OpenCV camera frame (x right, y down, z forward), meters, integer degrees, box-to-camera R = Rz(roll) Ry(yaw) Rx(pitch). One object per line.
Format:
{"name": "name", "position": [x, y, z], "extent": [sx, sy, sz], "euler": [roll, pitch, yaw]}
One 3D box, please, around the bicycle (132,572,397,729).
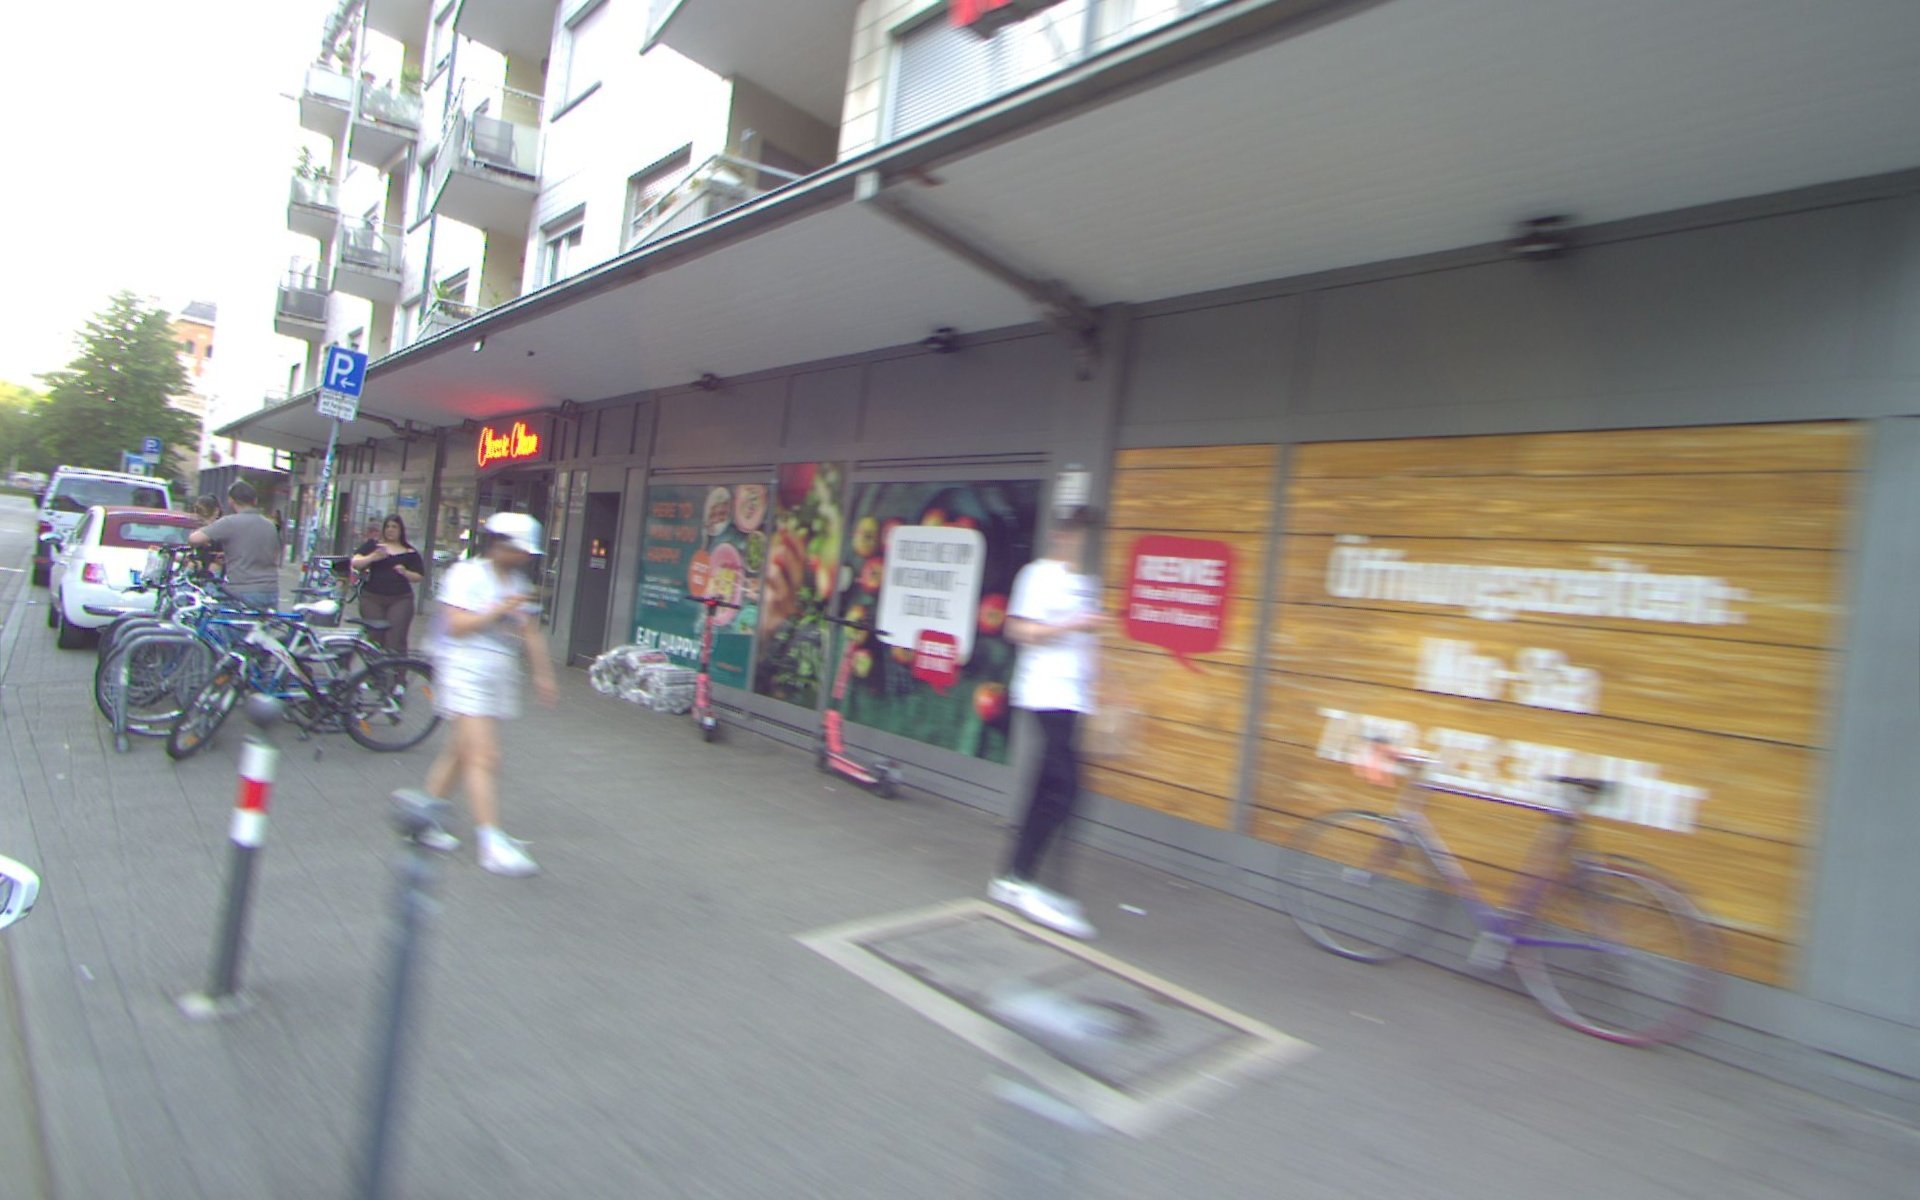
{"name": "bicycle", "position": [-4.967, 0.382, 7.261], "extent": [1.470, 1.015, 0.506], "euler": [5, 0, -36]}

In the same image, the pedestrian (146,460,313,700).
{"name": "pedestrian", "position": [-5.788, -0.150, 7.992], "extent": [0.651, 1.779, 0.737], "euler": [7, 2, 23]}

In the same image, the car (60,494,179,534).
{"name": "car", "position": [-42.735, -4.353, 51.222], "extent": [1.755, 1.474, 4.413], "euler": [7, 1, 42]}

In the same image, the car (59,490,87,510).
{"name": "car", "position": [-76.173, -8.592, 86.430], "extent": [1.668, 1.521, 3.856], "euler": [4, 2, -40]}

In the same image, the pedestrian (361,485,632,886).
{"name": "pedestrian", "position": [-2.182, 0.358, 4.759], "extent": [0.867, 1.673, 0.663], "euler": [6, 3, 25]}

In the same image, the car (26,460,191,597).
{"name": "car", "position": [-15.477, -1.322, 18.287], "extent": [1.950, 1.999, 4.943], "euler": [5, 2, -41]}

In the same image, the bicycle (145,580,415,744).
{"name": "bicycle", "position": [-4.629, 0.434, 6.910], "extent": [0.504, 0.996, 1.413], "euler": [6, 0, 45]}

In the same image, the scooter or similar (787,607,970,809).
{"name": "scooter or similar", "position": [-0.640, 0.724, 7.309], "extent": [0.475, 1.233, 1.609], "euler": [6, 0, -34]}

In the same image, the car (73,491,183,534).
{"name": "car", "position": [-44.218, -4.639, 53.544], "extent": [4.381, 1.669, 1.725], "euler": [5, 1, -43]}

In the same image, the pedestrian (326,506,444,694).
{"name": "pedestrian", "position": [-5.371, -0.002, 9.435], "extent": [0.715, 1.653, 0.560], "euler": [6, 2, -15]}

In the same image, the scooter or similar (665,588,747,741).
{"name": "scooter or similar", "position": [-2.286, 0.544, 9.035], "extent": [0.529, 1.218, 1.160], "euler": [7, 0, -15]}

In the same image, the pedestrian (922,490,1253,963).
{"name": "pedestrian", "position": [0.568, 0.501, 4.769], "extent": [0.757, 1.937, 1.176], "euler": [4, 3, -41]}

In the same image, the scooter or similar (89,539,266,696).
{"name": "scooter or similar", "position": [-6.643, 0.126, 8.601], "extent": [0.527, 1.186, 1.162], "euler": [7, 2, -2]}

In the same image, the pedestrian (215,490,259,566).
{"name": "pedestrian", "position": [-18.714, -1.839, 26.049], "extent": [0.702, 1.851, 0.854], "euler": [5, 1, -28]}

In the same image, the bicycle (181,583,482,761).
{"name": "bicycle", "position": [-4.065, 0.476, 6.593], "extent": [0.504, 1.014, 1.543], "euler": [6, 0, 45]}

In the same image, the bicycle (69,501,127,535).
{"name": "bicycle", "position": [-35.074, -3.330, 40.951], "extent": [1.716, 1.132, 0.698], "euler": [5, 1, -44]}

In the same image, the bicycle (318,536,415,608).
{"name": "bicycle", "position": [-11.364, -0.536, 19.248], "extent": [1.684, 1.211, 0.910], "euler": [6, 1, 35]}

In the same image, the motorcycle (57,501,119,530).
{"name": "motorcycle", "position": [-41.013, -3.977, 47.335], "extent": [0.653, 1.092, 2.058], "euler": [6, 1, 32]}

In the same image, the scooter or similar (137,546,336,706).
{"name": "scooter or similar", "position": [-5.911, 0.235, 8.255], "extent": [0.529, 1.186, 1.158], "euler": [10, 3, 41]}

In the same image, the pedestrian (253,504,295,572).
{"name": "pedestrian", "position": [-18.007, -1.624, 26.428], "extent": [0.702, 1.686, 0.740], "euler": [5, 1, -27]}

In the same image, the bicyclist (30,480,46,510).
{"name": "bicyclist", "position": [-58.557, -6.682, 63.892], "extent": [0.642, 1.783, 0.640], "euler": [5, 2, -44]}

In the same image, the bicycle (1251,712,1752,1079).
{"name": "bicycle", "position": [2.223, 1.141, 4.353], "extent": [0.455, 1.036, 1.761], "euler": [8, -1, -43]}

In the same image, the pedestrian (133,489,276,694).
{"name": "pedestrian", "position": [-6.399, -0.070, 8.549], "extent": [0.580, 1.620, 0.647], "euler": [6, 1, 8]}

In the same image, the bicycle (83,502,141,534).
{"name": "bicycle", "position": [-36.624, -3.539, 43.474], "extent": [1.774, 1.198, 0.728], "euler": [3, 2, -32]}

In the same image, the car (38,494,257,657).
{"name": "car", "position": [-9.360, -0.329, 11.494], "extent": [1.587, 1.520, 3.380], "euler": [5, 1, -44]}

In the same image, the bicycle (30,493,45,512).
{"name": "bicycle", "position": [-58.597, -6.195, 63.889], "extent": [0.642, 1.095, 1.809], "euler": [5, 2, -44]}
